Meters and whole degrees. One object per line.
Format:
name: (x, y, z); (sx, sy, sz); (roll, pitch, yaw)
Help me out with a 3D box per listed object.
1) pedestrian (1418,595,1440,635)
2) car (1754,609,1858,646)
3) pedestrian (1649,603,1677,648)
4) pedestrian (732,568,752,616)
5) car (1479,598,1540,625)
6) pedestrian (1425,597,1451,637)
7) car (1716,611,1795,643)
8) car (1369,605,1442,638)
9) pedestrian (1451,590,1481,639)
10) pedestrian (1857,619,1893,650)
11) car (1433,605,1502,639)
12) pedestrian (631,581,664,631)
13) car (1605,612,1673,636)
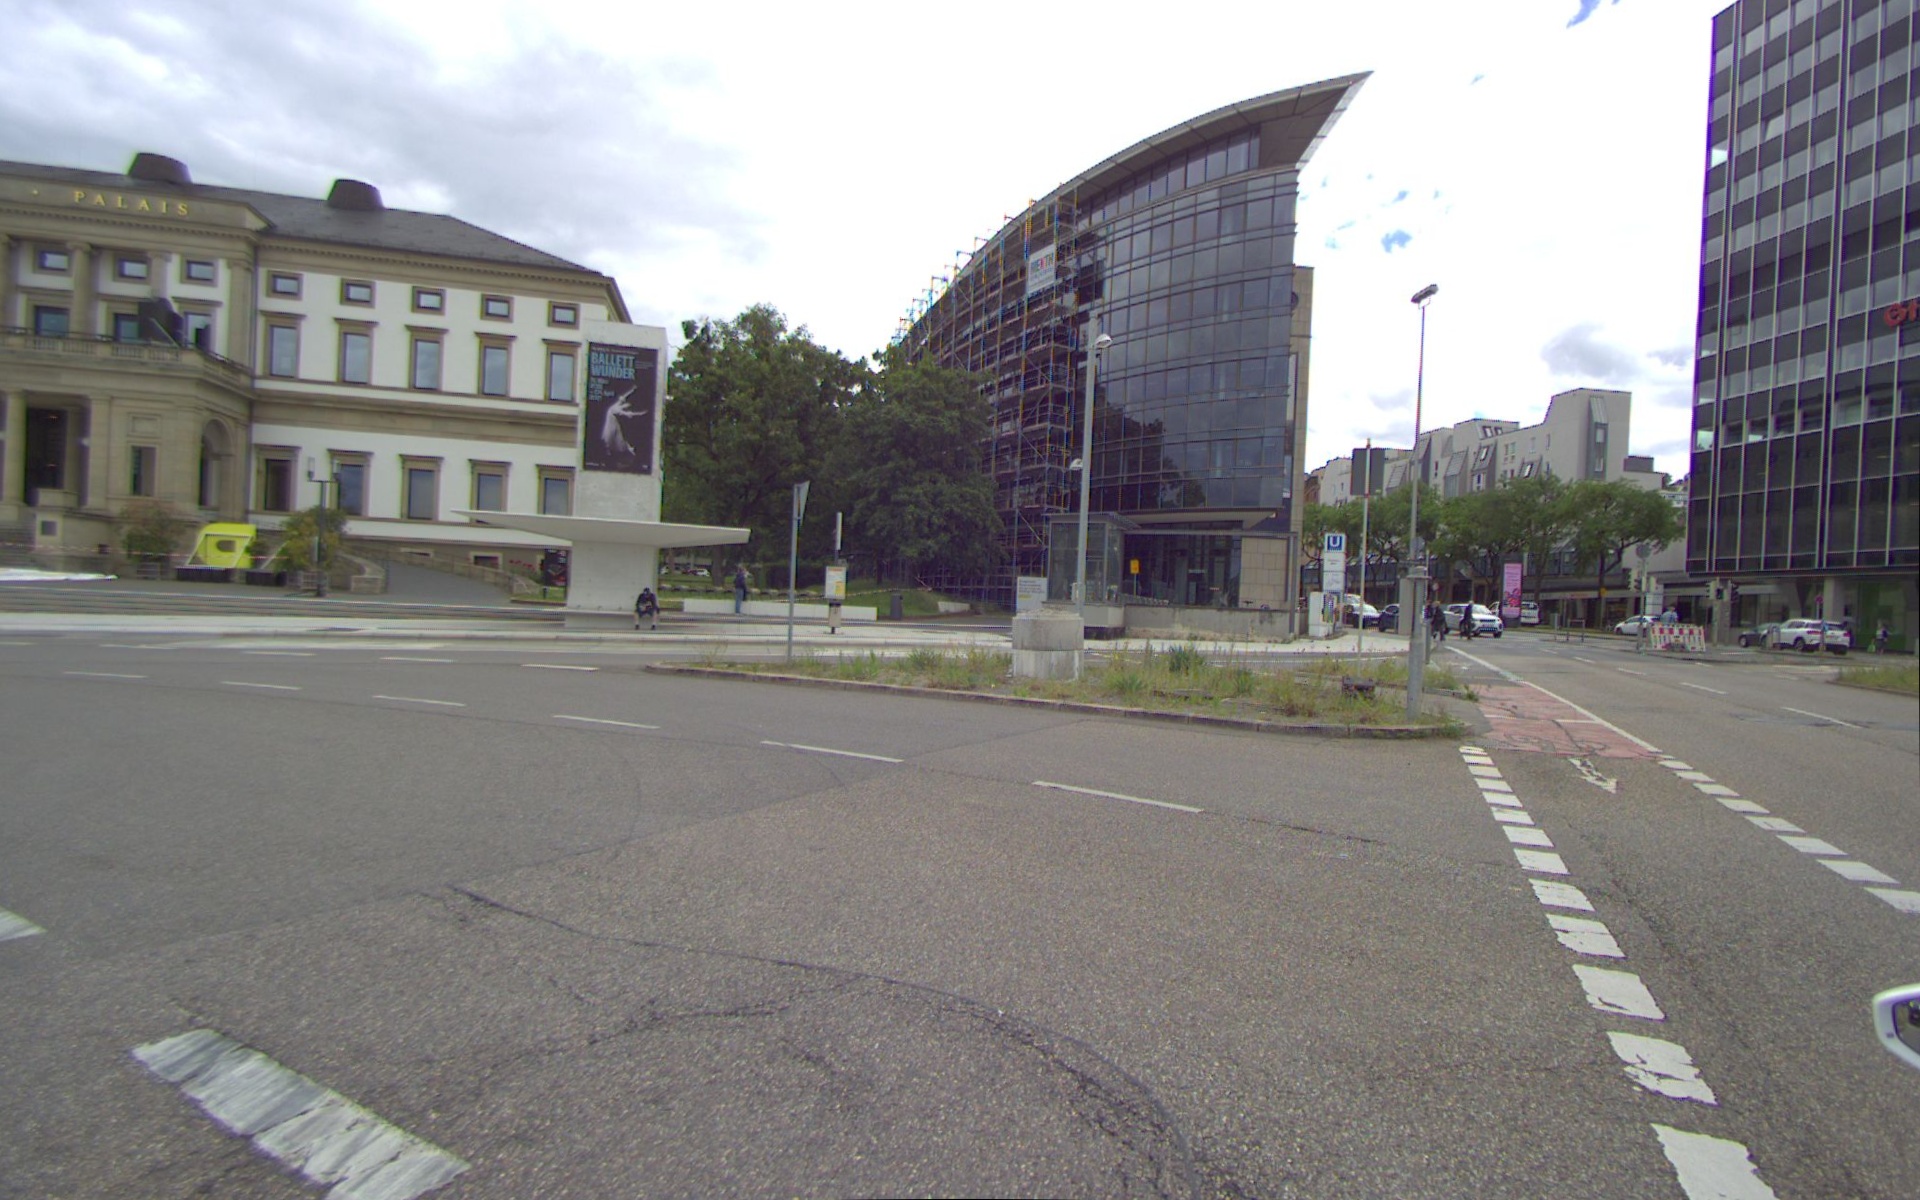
pedestrian: (20.939, 0.660, 44.853); (0.631, 1.723, 0.632); (2, 1, 2)
car: (40.239, 1.290, 47.892); (1.801, 1.588, 3.767); (1, 1, 2)
pedestrian: (29.341, 1.066, 41.915); (0.704, 1.815, 0.634); (-1, 3, -2)
pedestrian: (-8.338, -0.304, 38.427); (0.584, 1.838, 0.604); (1, 1, 2)
car: (42.041, 0.830, 76.952); (1.802, 1.899, 4.868); (1, 1, -2)
pedestrian: (20.984, 0.732, 44.092); (0.754, 1.723, 0.632); (2, 1, 2)
car: (44.351, 1.488, 56.119); (1.828, 1.595, 4.002); (1, 1, 12)
car: (23.429, 1.092, 53.010); (1.961, 1.545, 4.090); (2, 1, 0)
pedestrian: (23.269, 0.645, 46.207); (0.865, 2.201, 0.759); (1, 1, -20)
pedestrian: (50.600, 1.883, 55.557); (1.047, 1.655, 0.961); (1, 1, -8)
car: (26.417, 1.109, 52.404); (1.705, 1.620, 4.321); (2, 1, 5)
pedestrian: (-8.653, 0.162, 27.859); (0.747, 1.371, 0.705); (1, 1, -7)
car: (45.488, 1.574, 67.396); (2.021, 1.437, 4.336); (1, 1, 7)
